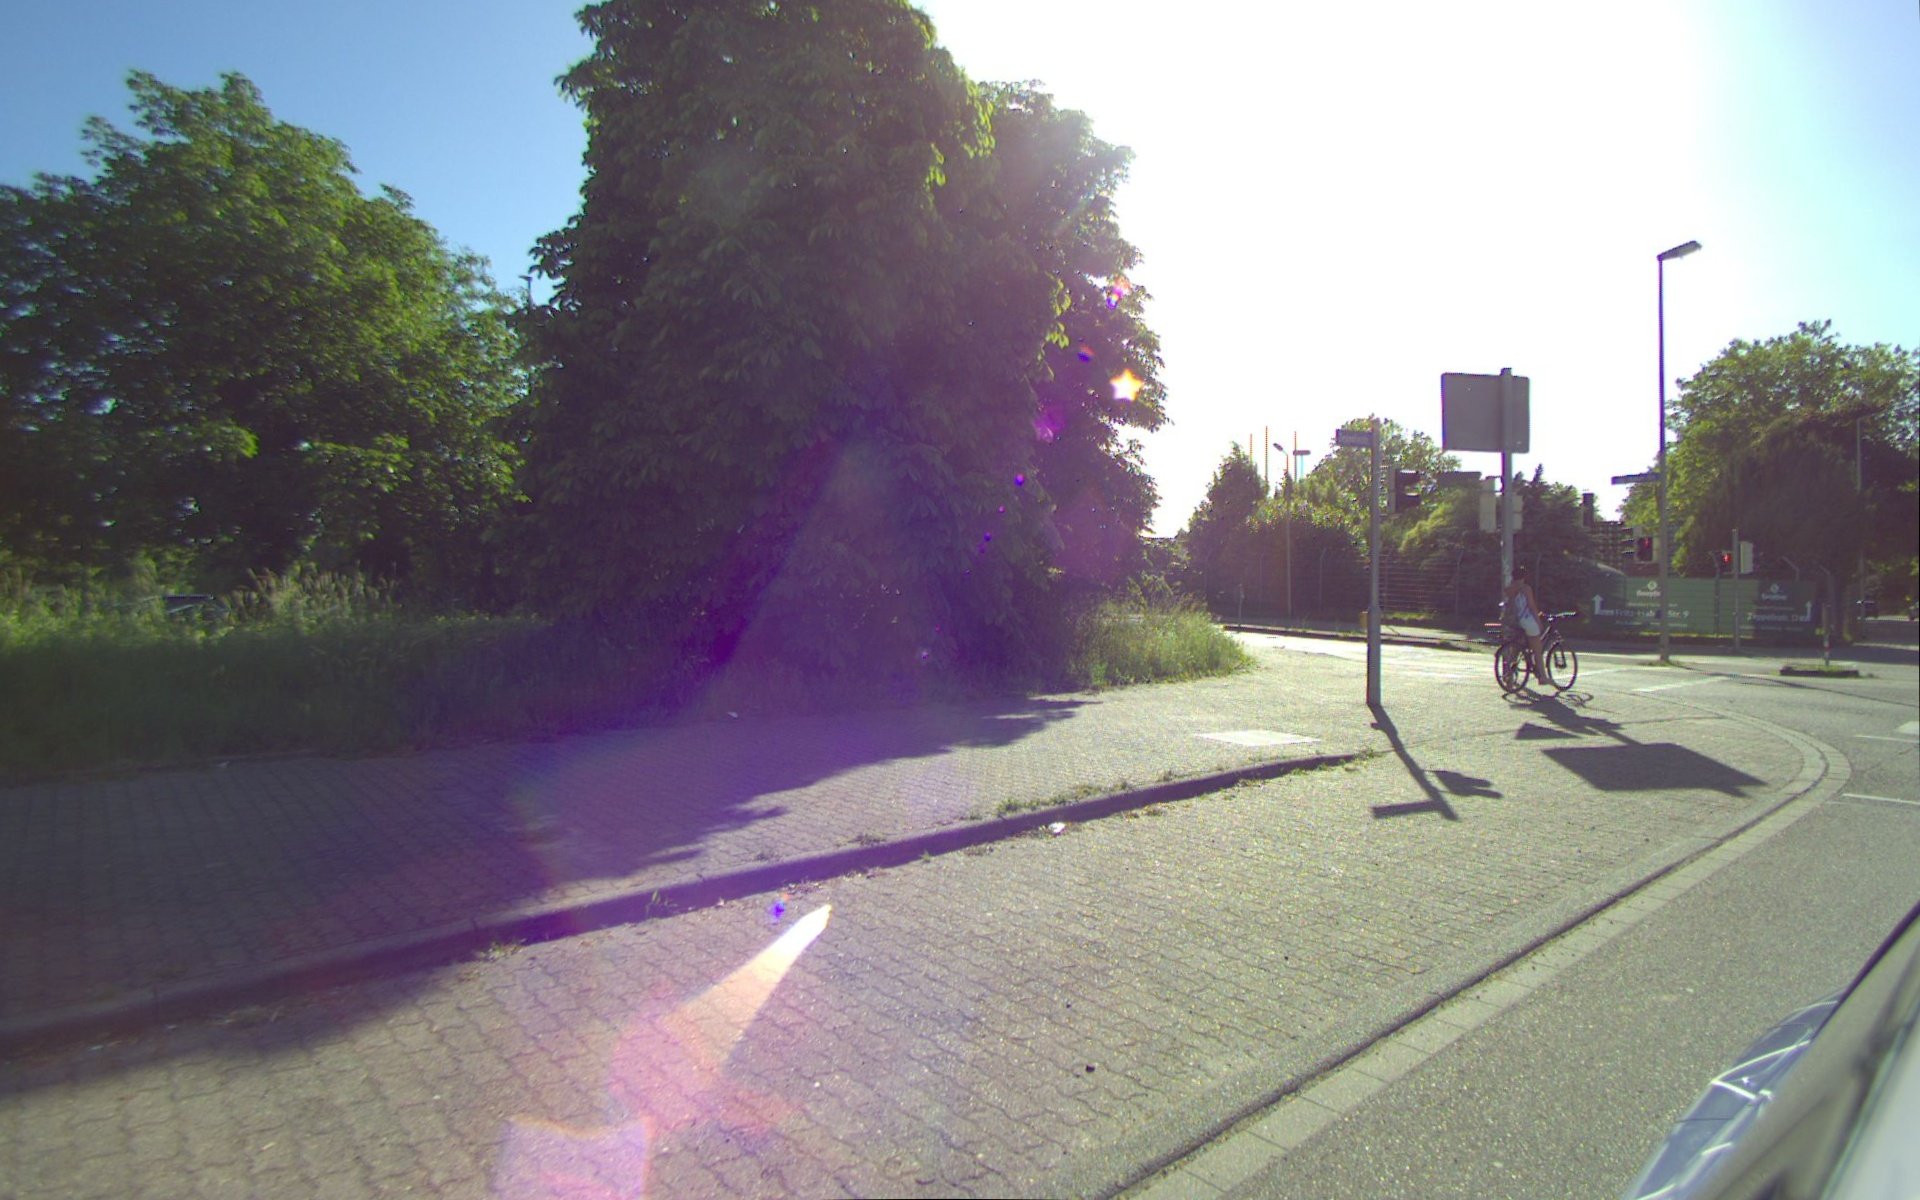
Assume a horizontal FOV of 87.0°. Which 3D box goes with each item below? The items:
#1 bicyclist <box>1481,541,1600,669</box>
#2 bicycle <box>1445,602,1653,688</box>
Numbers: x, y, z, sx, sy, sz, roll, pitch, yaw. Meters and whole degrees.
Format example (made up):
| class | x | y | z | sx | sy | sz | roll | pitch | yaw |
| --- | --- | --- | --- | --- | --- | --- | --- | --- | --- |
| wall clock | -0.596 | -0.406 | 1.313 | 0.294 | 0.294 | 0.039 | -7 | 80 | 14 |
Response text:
| class | x | y | z | sx | sy | sz | roll | pitch | yaw |
| --- | --- | --- | --- | --- | --- | --- | --- | --- | --- |
| bicyclist | 8.149 | 0.070 | 14.225 | 1.165 | 1.714 | 0.894 | 0 | -1 | -21 |
| bicycle | 8.318 | 0.606 | 14.275 | 2.891 | 1.140 | 0.905 | 0 | -1 | -21 |
